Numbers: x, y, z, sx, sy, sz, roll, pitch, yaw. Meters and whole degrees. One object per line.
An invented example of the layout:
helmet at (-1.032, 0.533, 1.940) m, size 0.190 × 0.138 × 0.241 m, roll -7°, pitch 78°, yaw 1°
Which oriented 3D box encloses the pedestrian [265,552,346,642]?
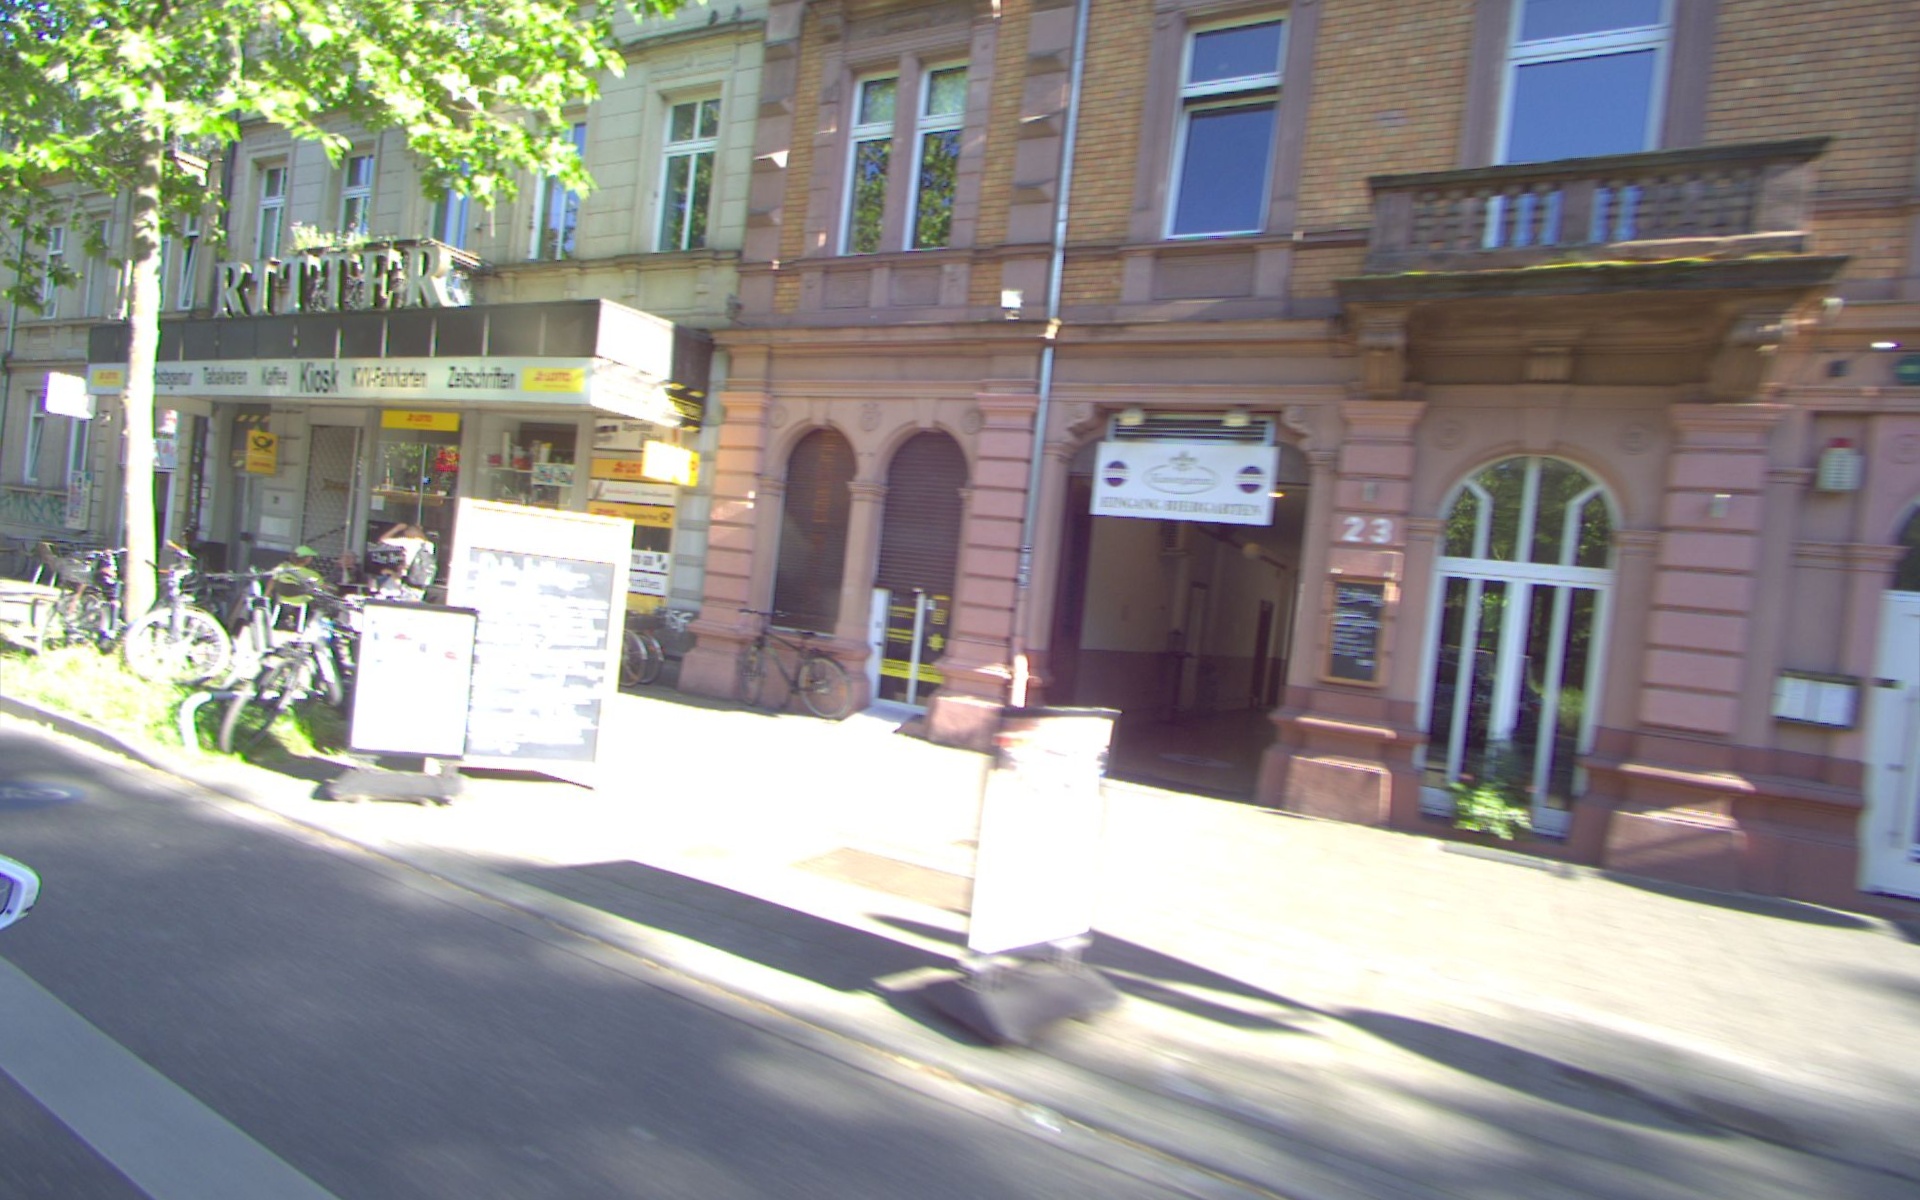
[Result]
pedestrian at (-9.195, -0.032, 14.164) m, size 0.460 × 1.175 × 0.774 m, roll 8°, pitch -1°, yaw 3°

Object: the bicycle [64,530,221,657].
bicycle at (-7.913, -0.071, 9.716) m, size 1.659 × 1.005 × 0.444 m, roll 7°, pitch -1°, yaw 27°

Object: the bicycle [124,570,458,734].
bicycle at (-4.790, 0.415, 7.410) m, size 0.436 × 1.005 × 2.020 m, roll 8°, pitch -2°, yaw 25°

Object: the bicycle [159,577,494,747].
bicycle at (-4.387, 0.467, 7.177) m, size 0.436 × 1.005 × 2.010 m, roll 8°, pitch -2°, yaw 25°

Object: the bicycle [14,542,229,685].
bicycle at (-7.336, 0.117, 8.804) m, size 1.656 × 1.005 × 0.444 m, roll 8°, pitch 0°, yaw 13°

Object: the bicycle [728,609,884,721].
bicycle at (-1.737, 0.712, 11.231) m, size 1.659 × 1.005 × 0.444 m, roll 7°, pitch -1°, yaw 27°

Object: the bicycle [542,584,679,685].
bicycle at (-4.275, 0.411, 12.272) m, size 1.659 × 1.005 × 0.444 m, roll 7°, pitch -1°, yaw 27°

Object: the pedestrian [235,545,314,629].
pedestrian at (-10.555, -0.195, 15.504) m, size 0.663 × 1.175 × 0.652 m, roll 8°, pitch -1°, yaw -9°

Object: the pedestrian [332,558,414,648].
pedestrian at (-8.302, 0.054, 14.242) m, size 0.599 × 1.175 × 0.648 m, roll 8°, pitch -1°, yaw 16°

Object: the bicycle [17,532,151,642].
bicycle at (-9.810, -0.156, 11.247) m, size 1.659 × 1.005 × 0.444 m, roll 7°, pitch -1°, yaw 27°

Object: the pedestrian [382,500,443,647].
pedestrian at (-7.190, -0.348, 13.200) m, size 0.464 × 1.832 × 0.768 m, roll 8°, pitch 0°, yaw -31°

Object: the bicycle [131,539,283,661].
bicycle at (-7.610, -0.012, 10.149) m, size 1.659 × 1.005 × 0.444 m, roll 7°, pitch -1°, yaw 27°

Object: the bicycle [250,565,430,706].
bicycle at (-5.461, 0.299, 8.839) m, size 1.659 × 1.005 × 0.444 m, roll 7°, pitch -1°, yaw 27°
